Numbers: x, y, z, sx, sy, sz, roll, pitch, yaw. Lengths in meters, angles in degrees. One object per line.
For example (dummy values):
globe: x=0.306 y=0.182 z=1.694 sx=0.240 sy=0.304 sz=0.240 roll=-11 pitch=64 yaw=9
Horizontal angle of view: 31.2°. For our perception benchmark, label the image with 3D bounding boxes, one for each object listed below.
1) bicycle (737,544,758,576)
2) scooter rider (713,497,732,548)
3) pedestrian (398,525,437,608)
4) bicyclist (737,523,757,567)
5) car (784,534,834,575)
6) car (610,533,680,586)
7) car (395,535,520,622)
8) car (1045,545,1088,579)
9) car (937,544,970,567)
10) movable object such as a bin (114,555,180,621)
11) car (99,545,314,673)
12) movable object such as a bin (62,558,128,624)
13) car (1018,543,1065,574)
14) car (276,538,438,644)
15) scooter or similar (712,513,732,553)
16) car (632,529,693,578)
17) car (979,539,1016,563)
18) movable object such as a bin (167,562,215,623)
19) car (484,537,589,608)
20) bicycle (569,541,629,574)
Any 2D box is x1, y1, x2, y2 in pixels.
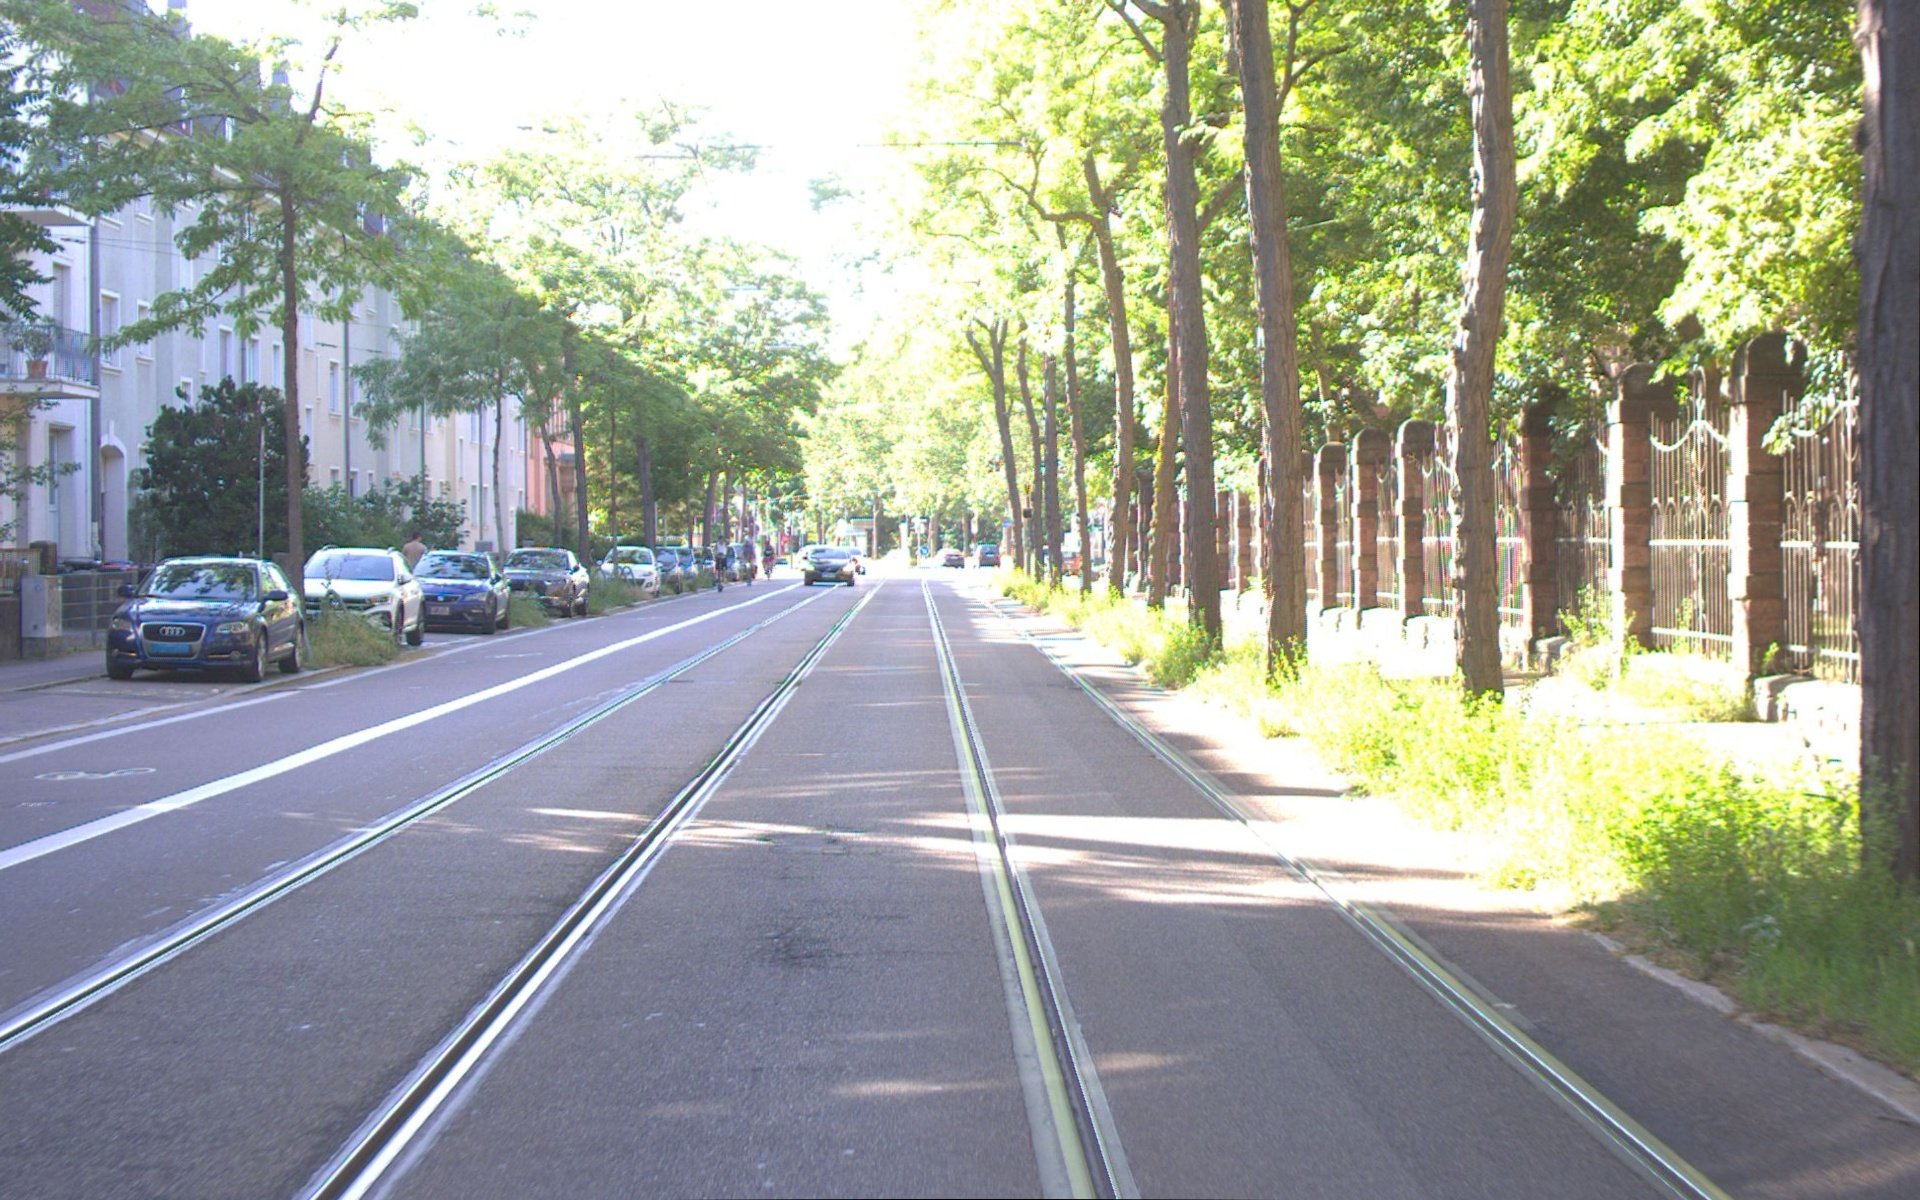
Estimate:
bicycle: x=-7.981 y=-1.512 z=129.154 sx=0.626 sy=1.173 sz=1.913 roll=-3 pitch=1 yaw=-1
scooter rider: x=-7.980 y=-2.601 z=115.311 sx=0.496 sy=1.694 sz=0.787 roll=-3 pitch=1 yaw=-1
pedestrian: x=-11.863 y=-0.727 z=75.190 sx=0.691 sy=1.795 sz=0.813 roll=-1 pitch=1 yaw=-1
bicyclist: x=-8.009 y=-2.059 z=129.069 sx=0.626 sy=1.633 sz=0.940 roll=-3 pitch=1 yaw=-1
car: x=-5.505 y=-1.678 z=125.758 sx=1.757 sy=1.434 sz=4.524 roll=0 pitch=1 yaw=-2
car: x=-9.330 y=-1.212 z=102.046 sx=1.702 sy=1.480 sz=4.079 roll=3 pitch=1 yaw=-1
car: x=-9.145 y=-0.418 z=62.859 sx=1.757 sy=1.506 sz=4.439 roll=1 pitch=1 yaw=-2
car: x=5.181 y=-1.859 z=167.285 sx=1.839 sy=1.649 sz=3.580 roll=0 pitch=1 yaw=-3
car: x=-0.466 y=-3.102 z=240.374 sx=1.942 sy=1.605 sz=4.001 roll=0 pitch=1 yaw=-6
movable object such as a bin: x=-13.297 y=-0.195 z=56.240 sx=0.844 sy=1.042 sz=0.732 roll=2 pitch=1 yaw=2
car: x=-8.921 y=0.072 z=41.000 sx=1.705 sy=1.401 sz=4.334 roll=1 pitch=1 yaw=-2
movable object such as a bin: x=-14.158 y=-0.144 z=56.264 sx=0.844 sy=1.042 sz=0.732 roll=2 pitch=1 yaw=2
car: x=4.238 y=-2.157 z=178.438 sx=1.942 sy=1.605 sz=4.001 roll=0 pitch=1 yaw=-6
car: x=-9.122 y=-0.168 z=52.343 sx=1.817 sy=1.506 sz=4.372 roll=1 pitch=1 yaw=-2
scooter or similar: x=-7.971 y=-2.247 z=115.313 sx=0.520 sy=1.293 sz=1.377 roll=-3 pitch=1 yaw=-1
car: x=-9.504 y=-1.502 z=110.176 sx=1.687 sy=1.480 sz=3.760 roll=2 pitch=1 yaw=-2
car: x=2.459 y=-3.227 z=226.325 sx=1.942 sy=1.605 sz=4.001 roll=0 pitch=1 yaw=-6
movable object such as a bin: x=-12.577 y=-0.121 z=56.223 sx=0.559 sy=0.972 sz=0.732 roll=2 pitch=1 yaw=2
car: x=-9.260 y=-0.631 z=75.418 sx=1.817 sy=1.480 sz=4.206 roll=1 pitch=1 yaw=-1
bicycle: x=-14.333 y=-1.701 z=136.560 sx=2.285 sy=1.194 sz=0.559 roll=2 pitch=2 yaw=6
